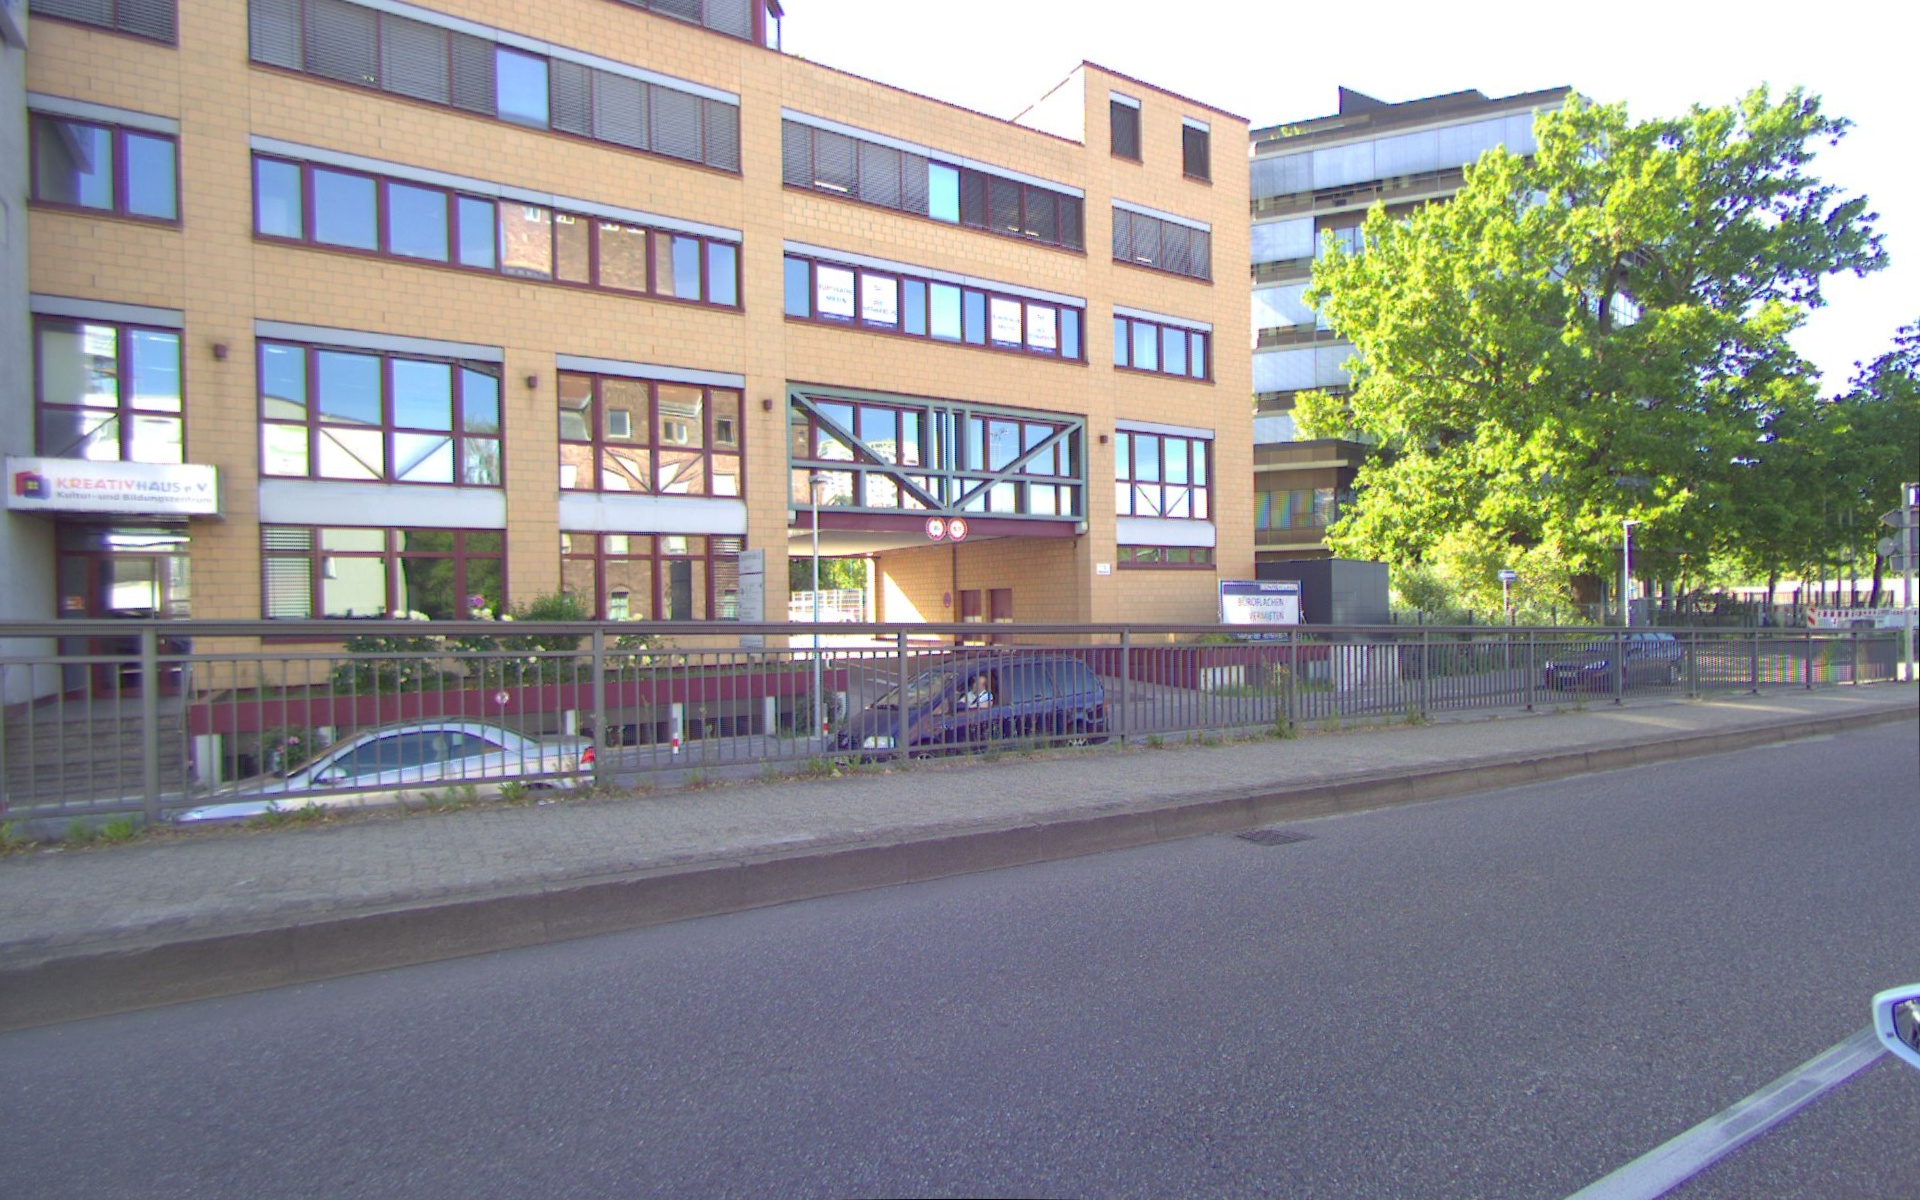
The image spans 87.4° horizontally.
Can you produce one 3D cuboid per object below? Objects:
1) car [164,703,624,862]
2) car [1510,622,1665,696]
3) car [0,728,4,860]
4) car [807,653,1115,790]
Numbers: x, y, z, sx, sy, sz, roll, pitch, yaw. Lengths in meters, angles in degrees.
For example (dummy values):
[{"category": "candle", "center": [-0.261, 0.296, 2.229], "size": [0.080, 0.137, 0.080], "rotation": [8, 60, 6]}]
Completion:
[{"category": "car", "center": [-6.142, 1.902, 11.303], "size": [4.210, 1.181, 1.713], "rotation": [0, -2, -32]}, {"category": "car", "center": [16.428, 1.468, 26.269], "size": [3.953, 1.715, 1.843], "rotation": [-1, 0, -30]}, {"category": "car", "center": [-10.659, 1.878, 8.273], "size": [3.766, 1.286, 1.567], "rotation": [0, -2, -32]}, {"category": "car", "center": [0.104, 1.701, 15.246], "size": [4.541, 1.669, 1.710], "rotation": [0, -2, -35]}]
